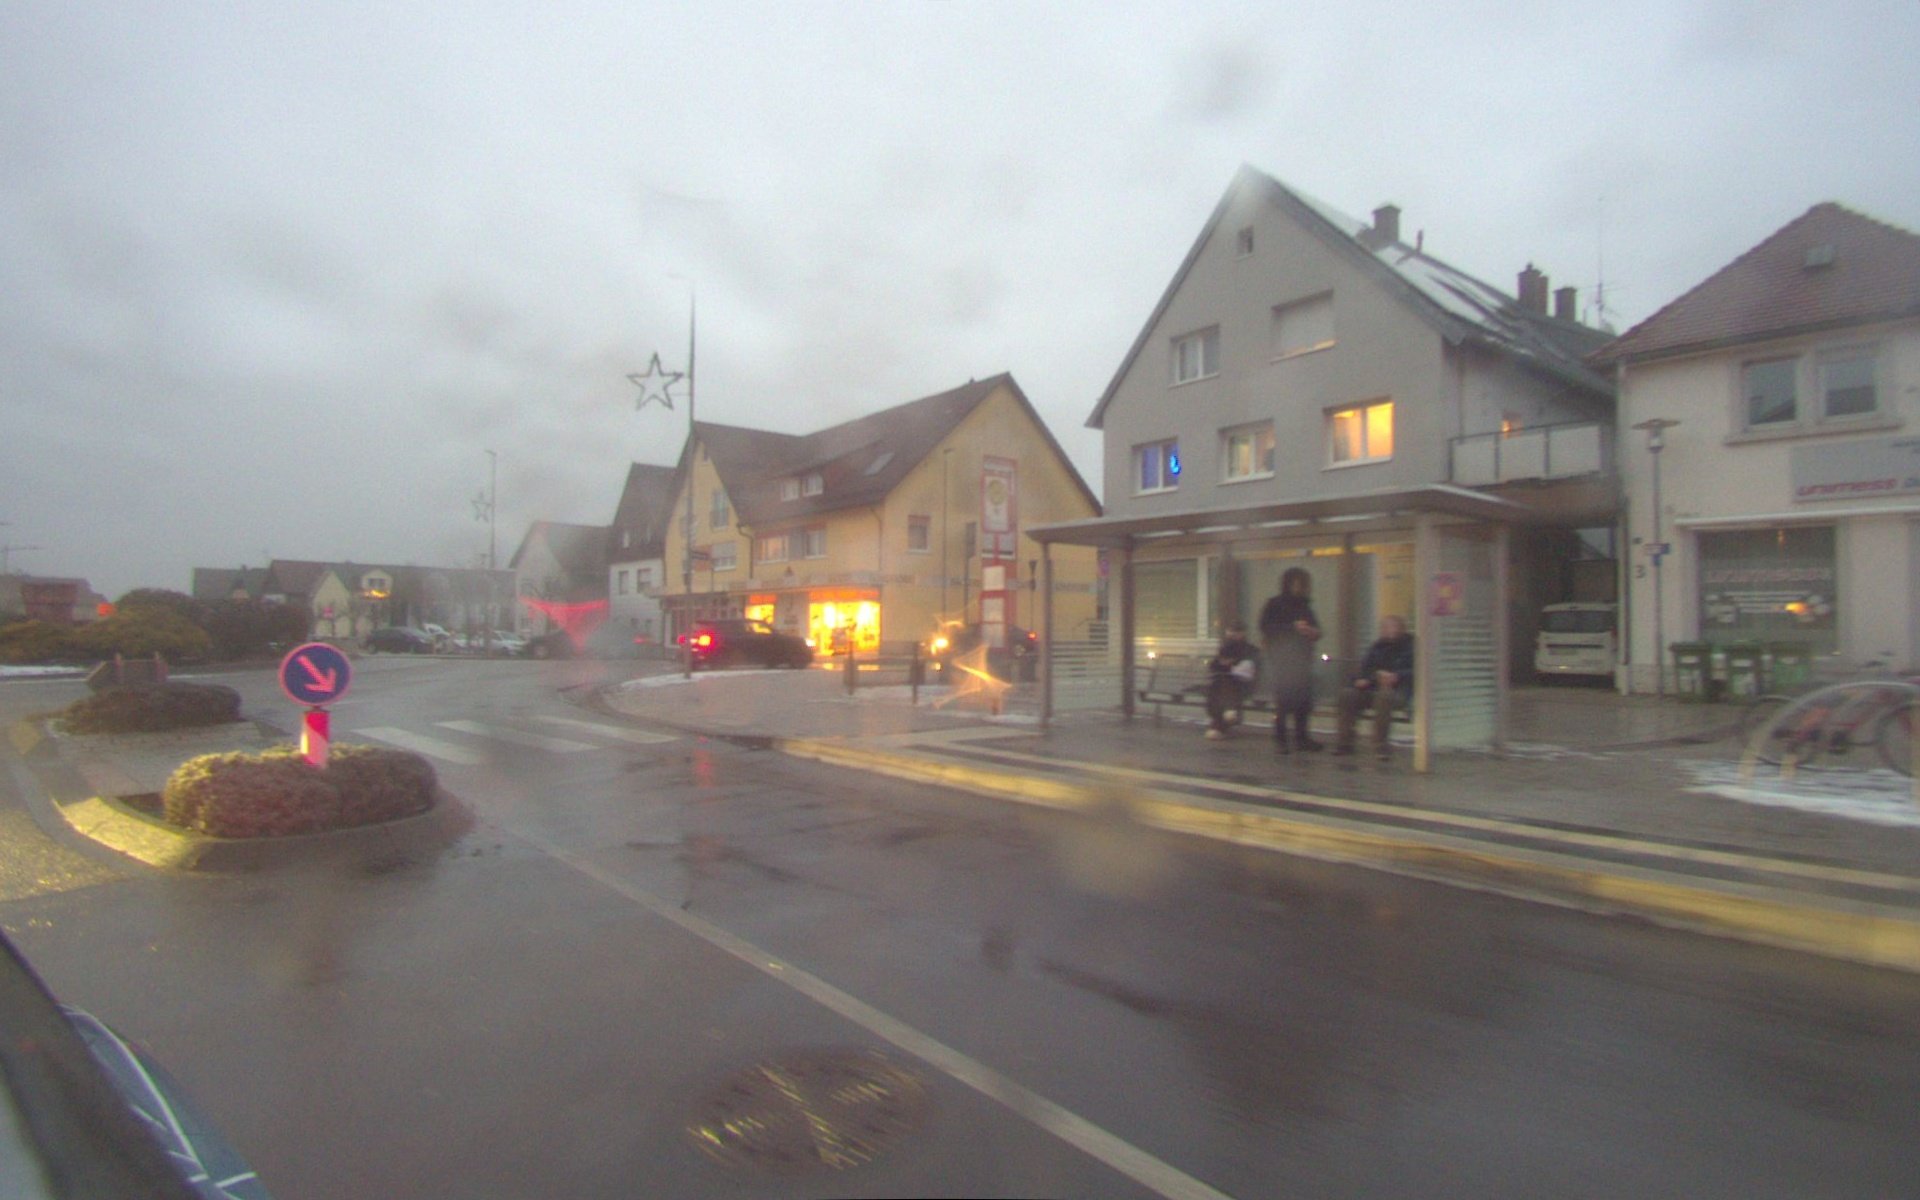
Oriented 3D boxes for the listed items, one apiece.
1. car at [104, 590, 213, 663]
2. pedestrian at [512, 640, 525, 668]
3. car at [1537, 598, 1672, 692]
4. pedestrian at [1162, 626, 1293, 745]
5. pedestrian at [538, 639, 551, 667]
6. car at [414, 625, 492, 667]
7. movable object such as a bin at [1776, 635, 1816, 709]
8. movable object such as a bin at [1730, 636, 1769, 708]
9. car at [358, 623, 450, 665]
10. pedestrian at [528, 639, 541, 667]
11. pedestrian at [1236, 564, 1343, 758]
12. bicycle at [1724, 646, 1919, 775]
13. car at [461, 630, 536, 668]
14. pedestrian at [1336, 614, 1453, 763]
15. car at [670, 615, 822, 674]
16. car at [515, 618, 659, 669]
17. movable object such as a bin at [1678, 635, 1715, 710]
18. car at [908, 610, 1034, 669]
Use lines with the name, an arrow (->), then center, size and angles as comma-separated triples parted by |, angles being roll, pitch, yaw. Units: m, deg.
car -> -23.889, 0.704, 30.331 | 2.024, 2.002, 4.551 | 0, 1, -32
pedestrian -> -26.223, 3.209, 60.097 | 0.574, 1.623, 0.500 | 0, 1, -44
car -> 13.917, 0.942, 21.812 | 3.373, 1.867, 1.516 | 2, -2, -40
pedestrian -> 2.837, 0.887, 10.747 | 0.976, 1.167, 0.903 | 0, -3, -39
pedestrian -> -25.597, 3.258, 62.311 | 0.574, 1.623, 0.500 | 0, 1, -44
car -> -27.577, 2.474, 55.037 | 3.953, 2.029, 1.908 | 1, 1, 28
movable object such as a bin -> 13.346, 1.139, 16.157 | 0.284, 1.151, 0.454 | 0, 1, -43
movable object such as a bin -> 12.955, 1.176, 16.610 | 0.284, 1.129, 0.454 | 0, 1, -43
car -> -28.934, 2.268, 52.726 | 3.963, 2.010, 1.962 | 1, 1, 15
pedestrian -> -25.562, 3.178, 60.861 | 0.574, 1.623, 0.500 | 0, 1, -44
pedestrian -> 3.153, 0.562, 9.681 | 0.687, 1.755, 0.740 | -3, -2, 41
bicycle -> 7.666, 0.911, 8.649 | 0.463, 1.018, 1.744 | 1, -2, -32
car -> -26.118, 2.735, 57.248 | 3.854, 1.895, 1.917 | 1, 1, 28
pedestrian -> 3.998, 0.787, 9.309 | 0.677, 1.281, 0.751 | 0, -2, -44
car -> -5.901, 1.187, 28.168 | 3.840, 1.515, 1.709 | 1, -1, -44
car -> -12.876, 1.483, 35.132 | 4.314, 1.617, 1.888 | 0, 1, 2
movable object such as a bin -> 12.467, 1.216, 17.143 | 0.284, 1.219, 0.454 | 0, 1, -43
car -> 0.447, 1.445, 38.436 | 4.389, 2.029, 2.006 | 0, 1, -32
